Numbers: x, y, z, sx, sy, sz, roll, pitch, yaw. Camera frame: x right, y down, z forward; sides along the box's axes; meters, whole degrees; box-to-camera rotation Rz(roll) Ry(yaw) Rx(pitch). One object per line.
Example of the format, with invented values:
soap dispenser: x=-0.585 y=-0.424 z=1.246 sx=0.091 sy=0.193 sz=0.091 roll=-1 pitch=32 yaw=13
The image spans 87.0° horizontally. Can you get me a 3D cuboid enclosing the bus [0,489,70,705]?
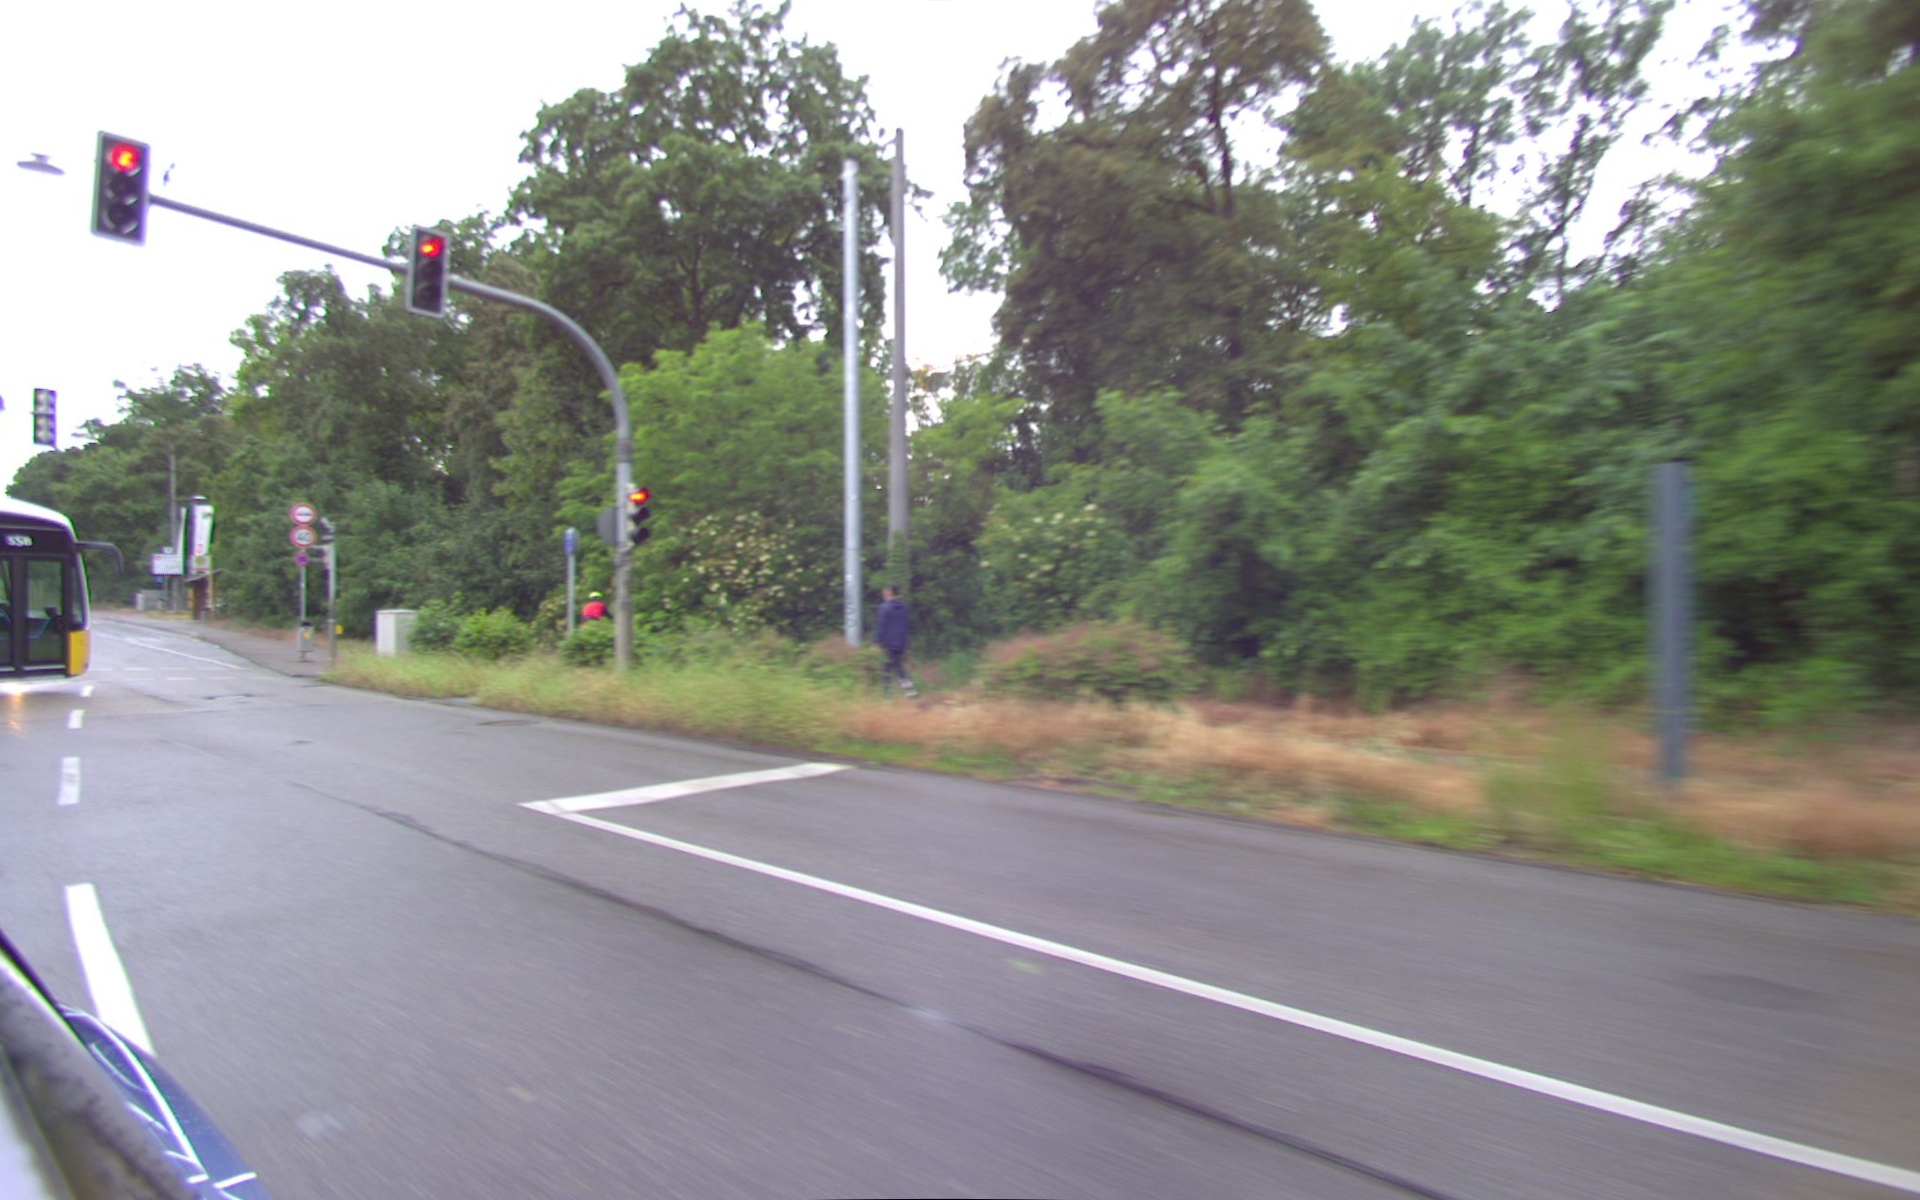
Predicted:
bus: x=-17.774 y=-0.029 z=13.224 sx=2.888 sy=3.424 sz=8.978 roll=-1 pitch=-1 yaw=21

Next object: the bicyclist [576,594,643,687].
bicyclist: x=-6.511 y=0.726 z=18.815 sx=1.032 sy=1.665 sz=0.581 roll=0 pitch=0 yaw=-42

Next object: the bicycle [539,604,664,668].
bicycle: x=-6.607 y=0.631 z=18.726 sx=2.121 sy=1.105 sz=0.581 roll=0 pitch=0 yaw=-43

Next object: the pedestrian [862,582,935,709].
pedestrian: x=-0.906 y=0.653 z=14.986 sx=0.764 sy=1.813 sz=0.767 roll=0 pitch=-1 yaw=43
